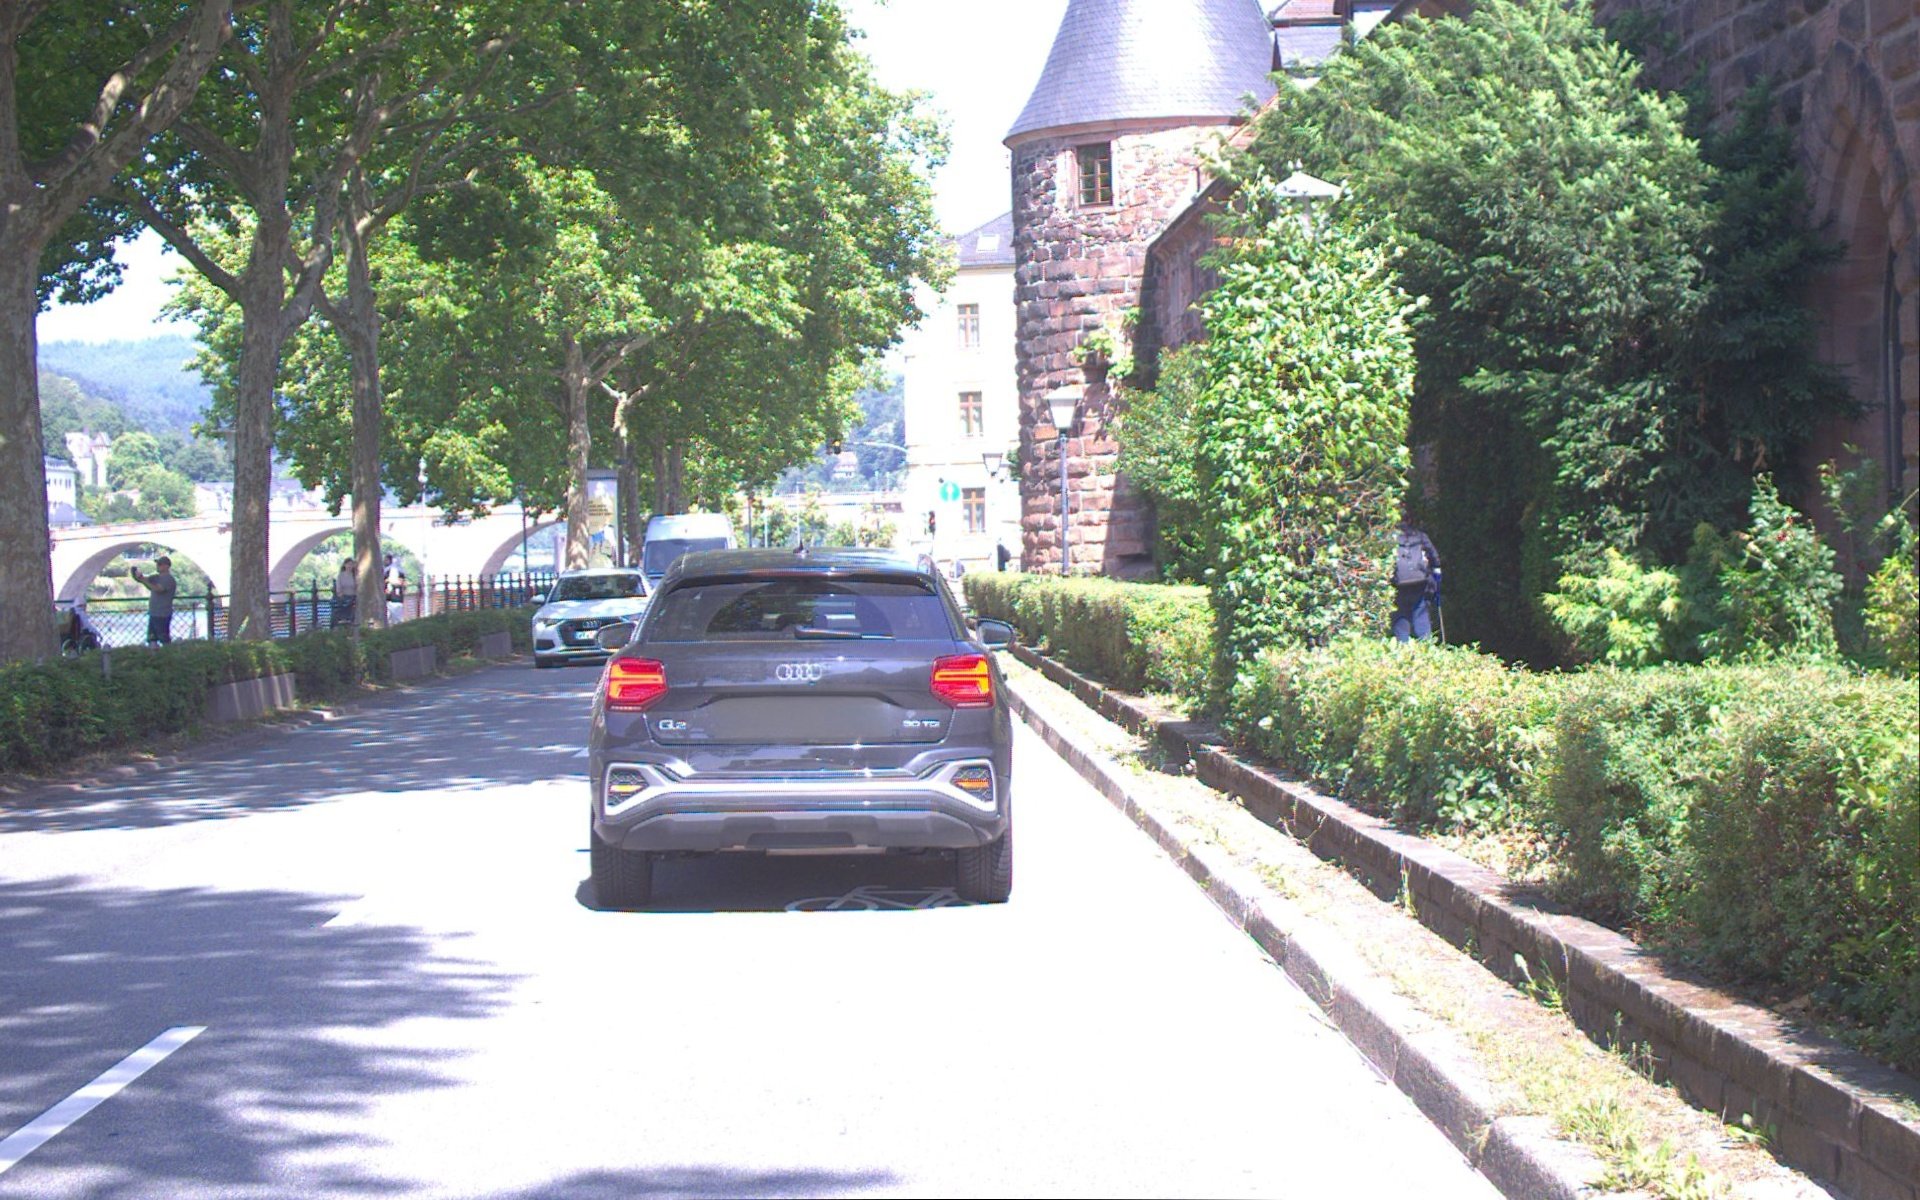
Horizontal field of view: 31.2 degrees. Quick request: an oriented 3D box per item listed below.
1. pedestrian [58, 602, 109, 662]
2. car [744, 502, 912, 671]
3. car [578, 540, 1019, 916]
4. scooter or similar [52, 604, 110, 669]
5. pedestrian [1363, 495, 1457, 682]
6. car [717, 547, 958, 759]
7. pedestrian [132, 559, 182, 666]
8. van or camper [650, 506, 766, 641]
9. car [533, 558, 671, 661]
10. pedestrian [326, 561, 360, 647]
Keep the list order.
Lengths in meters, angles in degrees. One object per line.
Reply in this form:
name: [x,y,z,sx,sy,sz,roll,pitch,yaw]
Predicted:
pedestrian: [-13.378,0.489,52.485,0.607,0.881,0.705,-1,1,-2]
car: [-1.689,-0.195,44.559,1.993,2.007,4.000,-2,1,-2]
car: [-0.723,0.488,15.529,1.748,1.489,3.629,0,1,-3]
scooter or similar: [-13.373,0.551,52.338,0.631,0.965,1.012,-1,0,-2]
pedestrian: [4.070,-0.109,31.128,0.698,1.647,0.705,-3,1,1]
car: [-0.951,0.383,28.543,1.801,1.557,3.716,-3,1,0]
pedestrian: [-12.155,0.190,52.055,0.644,1.613,0.459,1,0,-3]
van or camper: [-5.171,-0.554,71.192,1.960,2.558,5.841,-3,1,-1]
car: [-5.450,0.117,52.790,1.769,1.452,4.535,-2,1,-2]
pedestrian: [-11.319,0.075,63.106,0.457,1.549,0.586,-2,1,-2]
